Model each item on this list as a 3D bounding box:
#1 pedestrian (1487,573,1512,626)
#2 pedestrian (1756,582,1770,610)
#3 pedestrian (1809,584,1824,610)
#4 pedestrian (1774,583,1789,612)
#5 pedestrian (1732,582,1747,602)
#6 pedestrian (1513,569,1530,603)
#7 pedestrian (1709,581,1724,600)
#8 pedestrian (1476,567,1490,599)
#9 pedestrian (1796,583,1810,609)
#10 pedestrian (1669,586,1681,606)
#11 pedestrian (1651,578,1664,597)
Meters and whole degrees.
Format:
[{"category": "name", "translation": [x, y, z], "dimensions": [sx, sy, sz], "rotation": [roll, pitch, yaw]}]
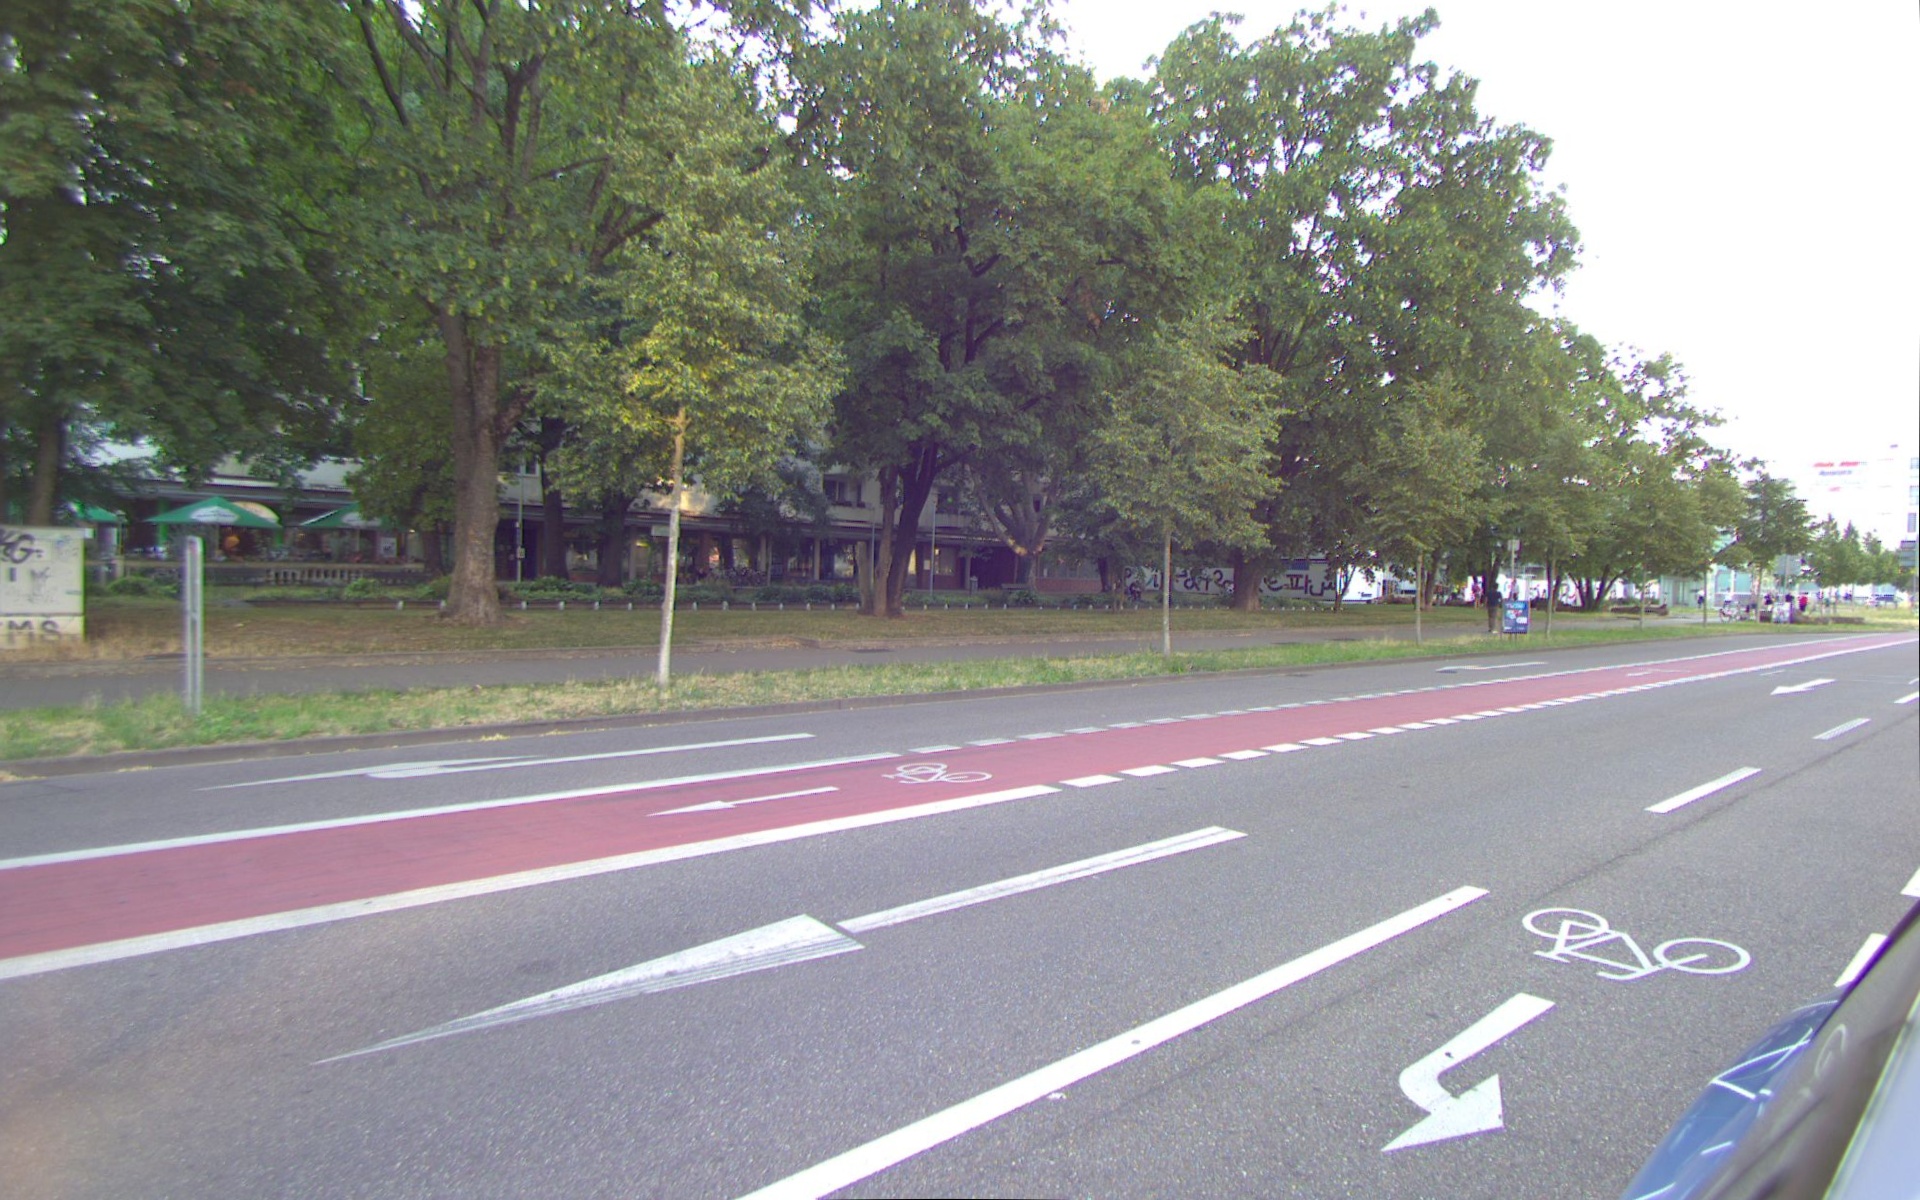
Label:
[{"category": "pedestrian", "translation": [18.338, -0.026, 34.398], "dimensions": [0.546, 1.760, 0.558], "rotation": [0, 2, -41]}, {"category": "pedestrian", "translation": [51.121, -0.250, 64.407], "dimensions": [0.707, 1.751, 0.519], "rotation": [0, 2, -40]}, {"category": "pedestrian", "translation": [59.533, -0.184, 70.329], "dimensions": [0.497, 1.779, 0.638], "rotation": [0, 2, -40]}, {"category": "pedestrian", "translation": [50.027, -0.175, 61.631], "dimensions": [0.707, 1.751, 0.508], "rotation": [0, 2, -41]}, {"category": "pedestrian", "translation": [55.673, -0.567, 72.271], "dimensions": [0.550, 1.371, 0.662], "rotation": [0, 2, -40]}, {"category": "pedestrian", "translation": [27.481, -0.699, 49.532], "dimensions": [0.513, 1.621, 0.500], "rotation": [0, 2, -41]}, {"category": "pedestrian", "translation": [55.076, -0.679, 73.708], "dimensions": [0.604, 1.371, 0.728], "rotation": [0, 2, -40]}, {"category": "pedestrian", "translation": [26.208, -0.855, 50.729], "dimensions": [0.359, 1.621, 0.500], "rotation": [1, 2, -40]}, {"category": "pedestrian", "translation": [59.276, -0.288, 71.159], "dimensions": [0.497, 1.779, 0.638], "rotation": [0, 2, -40]}, {"category": "pedestrian", "translation": [50.234, -0.257, 71.114], "dimensions": [0.759, 1.371, 0.519], "rotation": [0, 2, -41]}, {"category": "pedestrian", "translation": [49.483, -0.895, 71.766], "dimensions": [0.759, 1.371, 0.519], "rotation": [0, 2, -41]}]
